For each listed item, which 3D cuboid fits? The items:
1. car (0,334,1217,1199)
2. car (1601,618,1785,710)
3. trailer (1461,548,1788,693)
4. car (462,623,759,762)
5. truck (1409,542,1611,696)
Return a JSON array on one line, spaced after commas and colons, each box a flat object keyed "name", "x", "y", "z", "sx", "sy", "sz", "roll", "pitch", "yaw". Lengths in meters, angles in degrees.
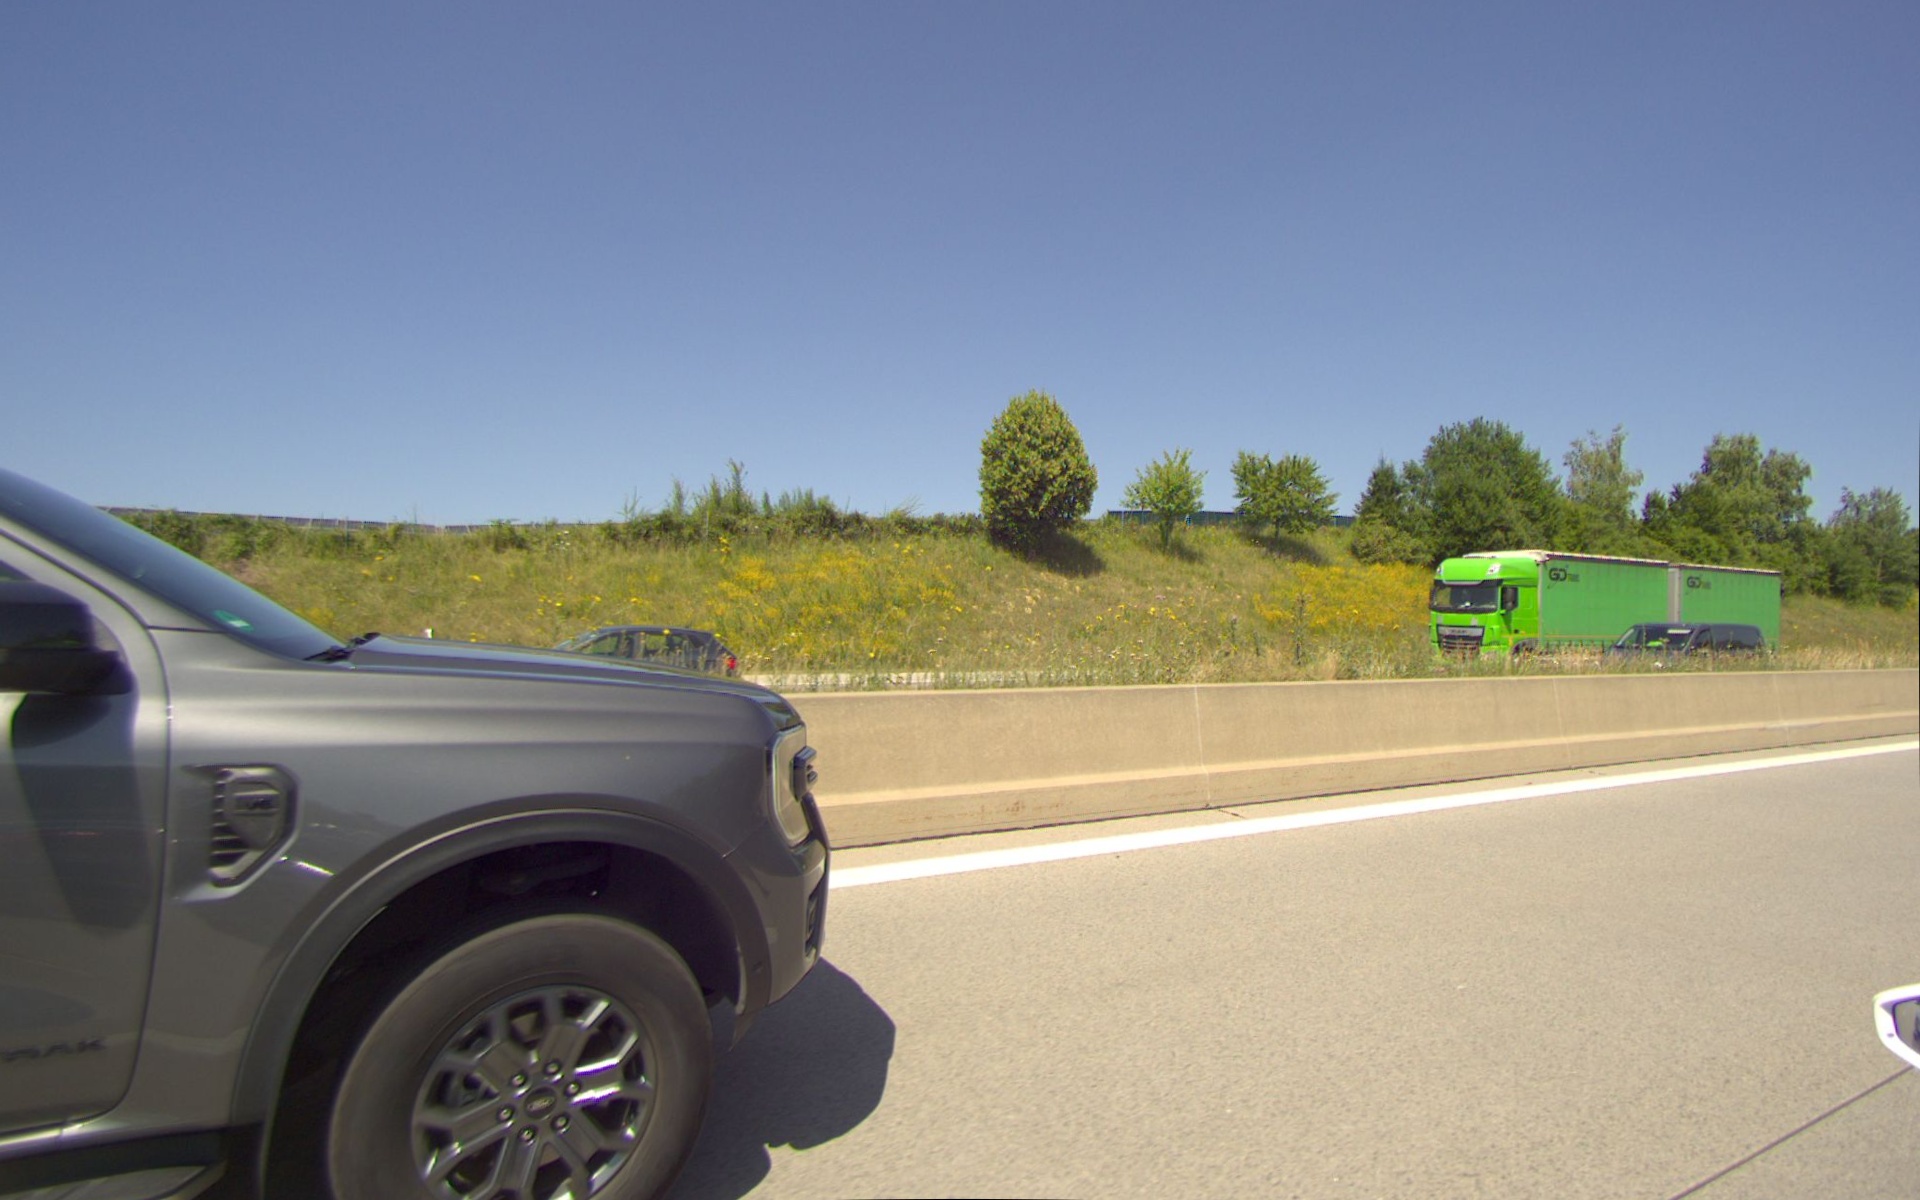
[{"name": "car", "x": -2.545, "y": 0.487, "z": 2.174, "sx": 6.452, "sy": 1.871, "sz": 1.984, "roll": 1, "pitch": 0, "yaw": -30}, {"name": "car", "x": 18.118, "y": 1.527, "z": 24.787, "sx": 4.488, "sy": 2.040, "sz": 1.984, "roll": 2, "pitch": -1, "yaw": -30}, {"name": "trailer", "x": 25.298, "y": 0.845, "z": 37.596, "sx": 16.238, "sy": 4.669, "sz": 3.143, "roll": 1, "pitch": -1, "yaw": -29}, {"name": "car", "x": -5.288, "y": 1.304, "z": 15.255, "sx": 3.953, "sy": 1.795, "sz": 1.984, "roll": 2, "pitch": -1, "yaw": -30}, {"name": "truck", "x": 18.480, "y": 0.653, "z": 33.724, "sx": 6.189, "sy": 4.724, "sz": 3.076, "roll": 2, "pitch": 0, "yaw": -29}]
